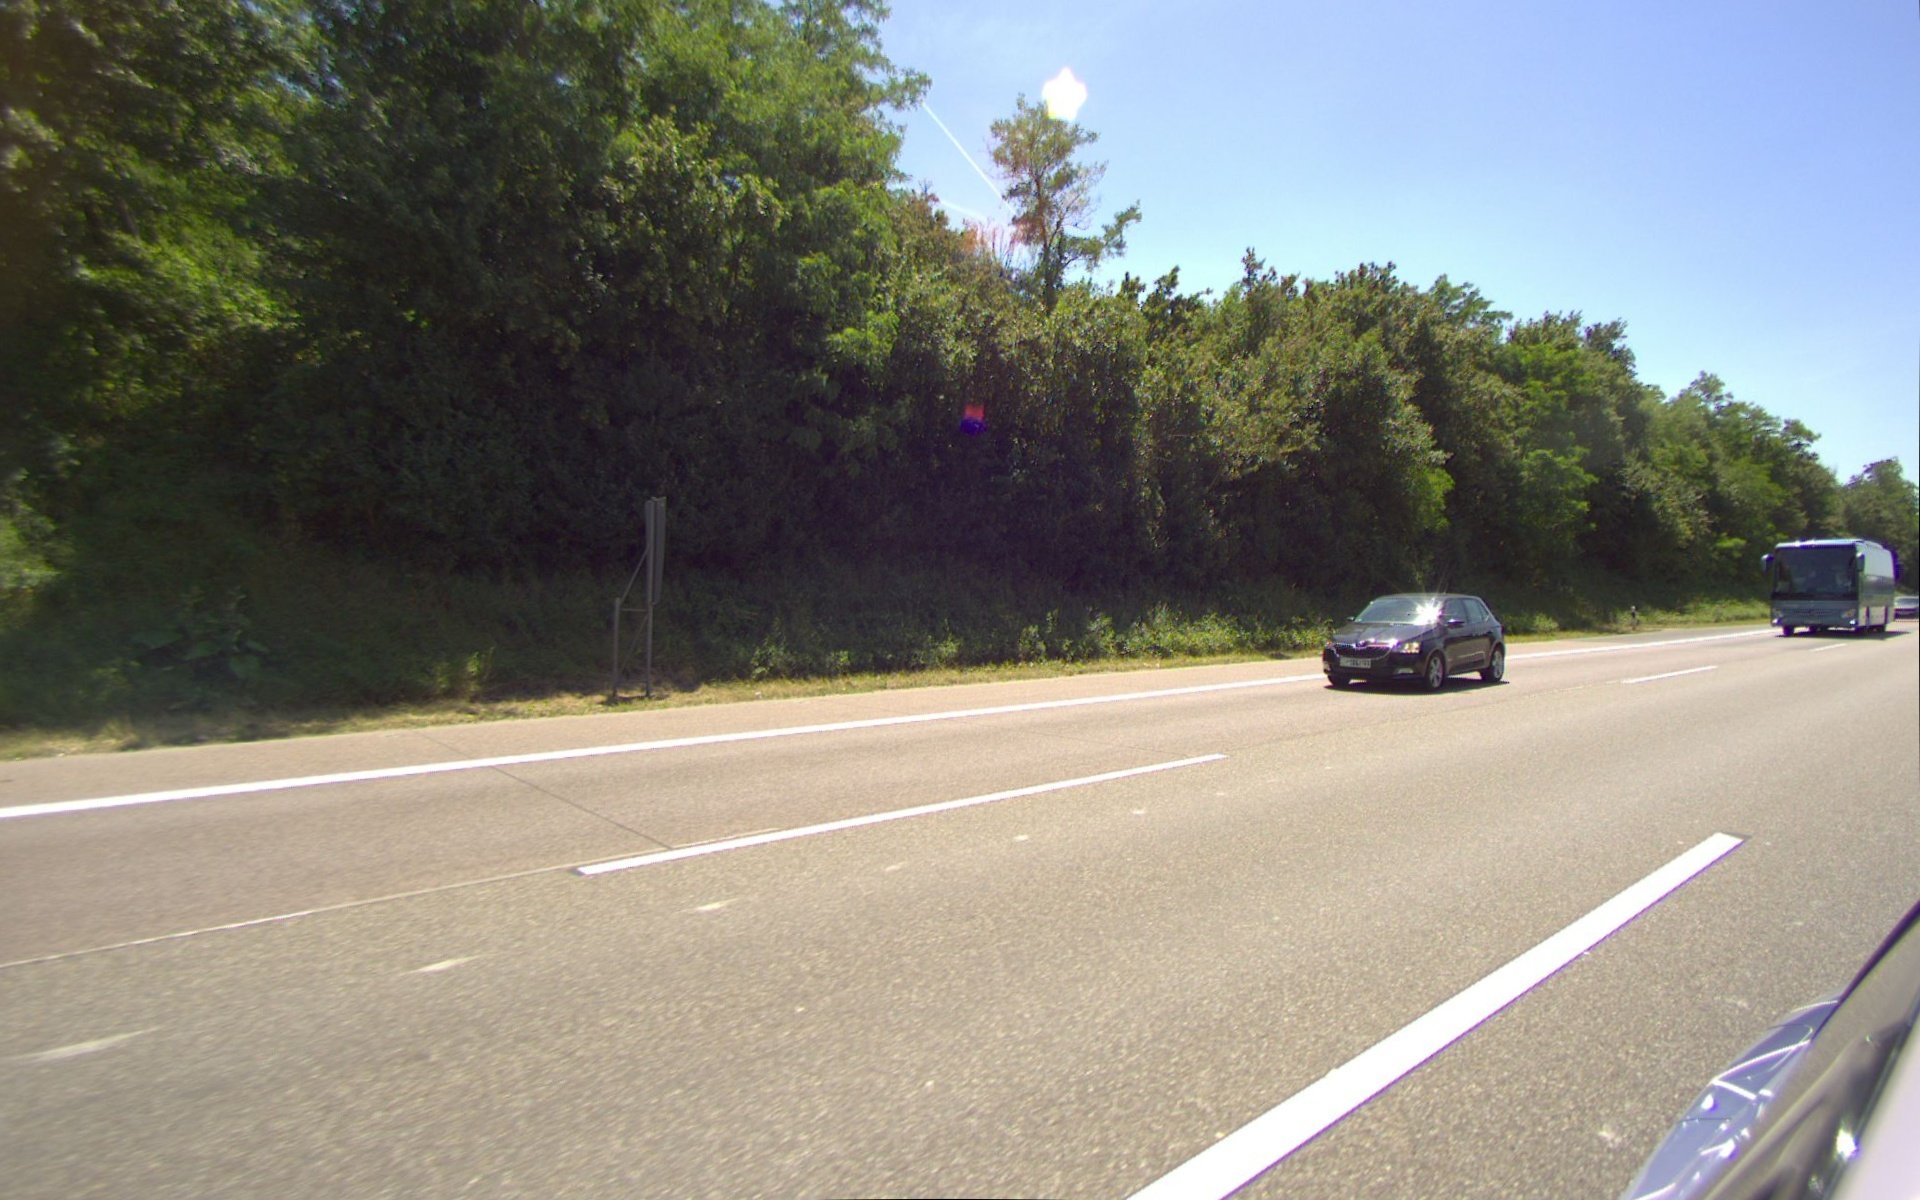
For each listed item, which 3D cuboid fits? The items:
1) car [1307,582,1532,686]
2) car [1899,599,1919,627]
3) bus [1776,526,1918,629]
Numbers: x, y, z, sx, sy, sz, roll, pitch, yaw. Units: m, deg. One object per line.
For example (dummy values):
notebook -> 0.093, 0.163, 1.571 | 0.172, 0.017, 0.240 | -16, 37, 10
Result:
car -> 7.602, 0.455, 16.530 | 4.495, 1.465, 1.672 | -1, 1, -41
car -> 59.106, 0.806, 62.077 | 3.931, 1.636, 1.813 | -1, 1, -41
bus -> 35.917, -0.884, 40.695 | 13.446, 3.597, 2.614 | -1, 1, -41
